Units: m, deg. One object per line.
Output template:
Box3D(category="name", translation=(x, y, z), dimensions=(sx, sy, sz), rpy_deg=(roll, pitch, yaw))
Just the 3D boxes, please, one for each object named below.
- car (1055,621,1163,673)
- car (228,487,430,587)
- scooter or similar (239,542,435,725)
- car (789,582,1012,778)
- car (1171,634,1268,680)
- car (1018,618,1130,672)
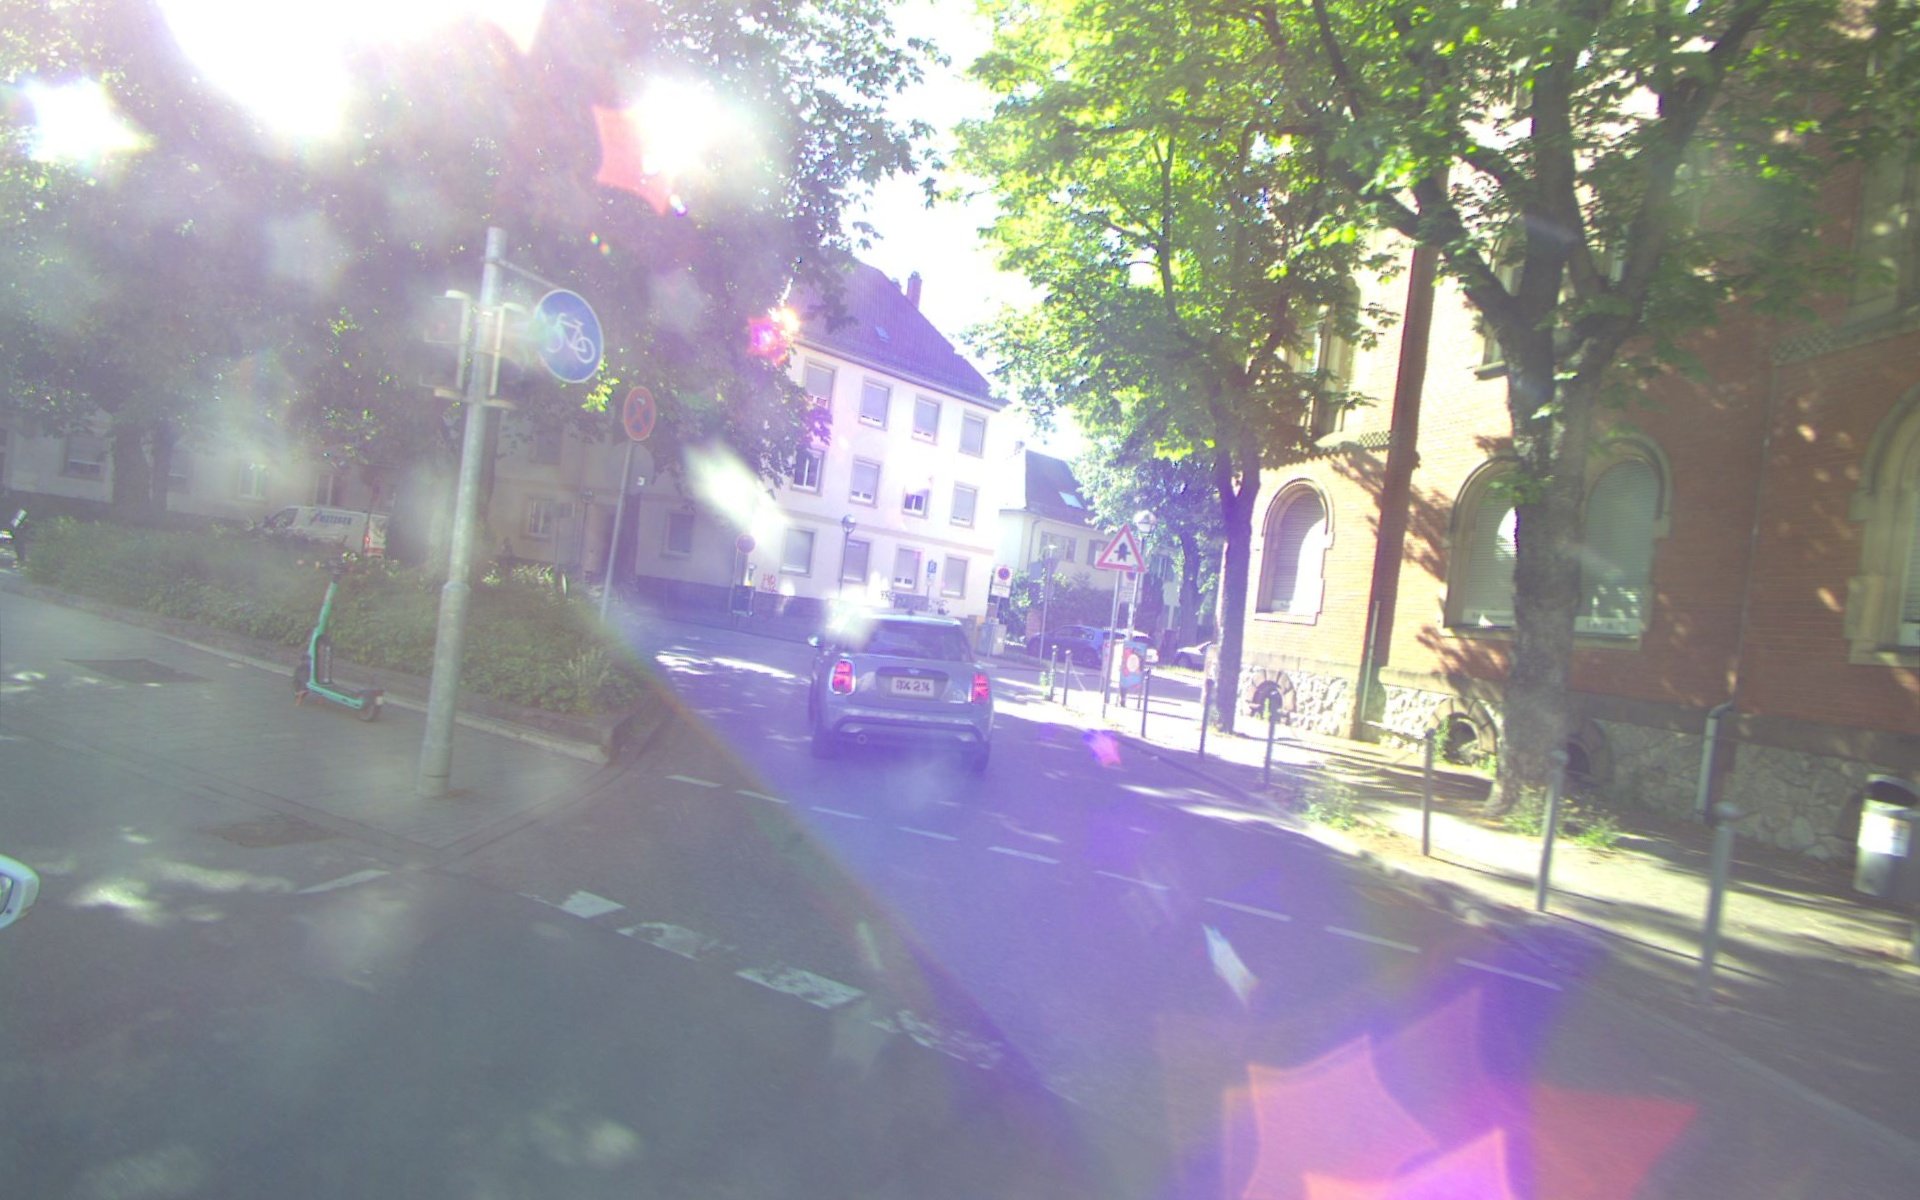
Box3D(category="car", translation=(5.786, 1.820, 39.170), dimensions=(3.746, 1.494, 1.597), rpy_deg=(6, -2, 38))
Box3D(category="car", translation=(-18.726, -1.853, 29.939), dimensions=(4.850, 2.234, 2.128), rpy_deg=(7, -1, 14))
Box3D(category="scooter or similar", translation=(-5.169, 0.271, 8.349), dimensions=(1.305, 1.325, 0.678), rpy_deg=(7, -1, 27))
Box3D(category="car", translation=(-0.783, 0.744, 10.783), dimensions=(1.790, 1.505, 3.997), rpy_deg=(7, -2, -8))
Box3D(category="car", translation=(11.600, 2.554, 45.028), dimensions=(3.746, 1.543, 1.597), rpy_deg=(6, -2, 38))
Box3D(category="car", translation=(4.206, 1.646, 37.319), dimensions=(3.746, 1.494, 1.597), rpy_deg=(6, -2, 38))
